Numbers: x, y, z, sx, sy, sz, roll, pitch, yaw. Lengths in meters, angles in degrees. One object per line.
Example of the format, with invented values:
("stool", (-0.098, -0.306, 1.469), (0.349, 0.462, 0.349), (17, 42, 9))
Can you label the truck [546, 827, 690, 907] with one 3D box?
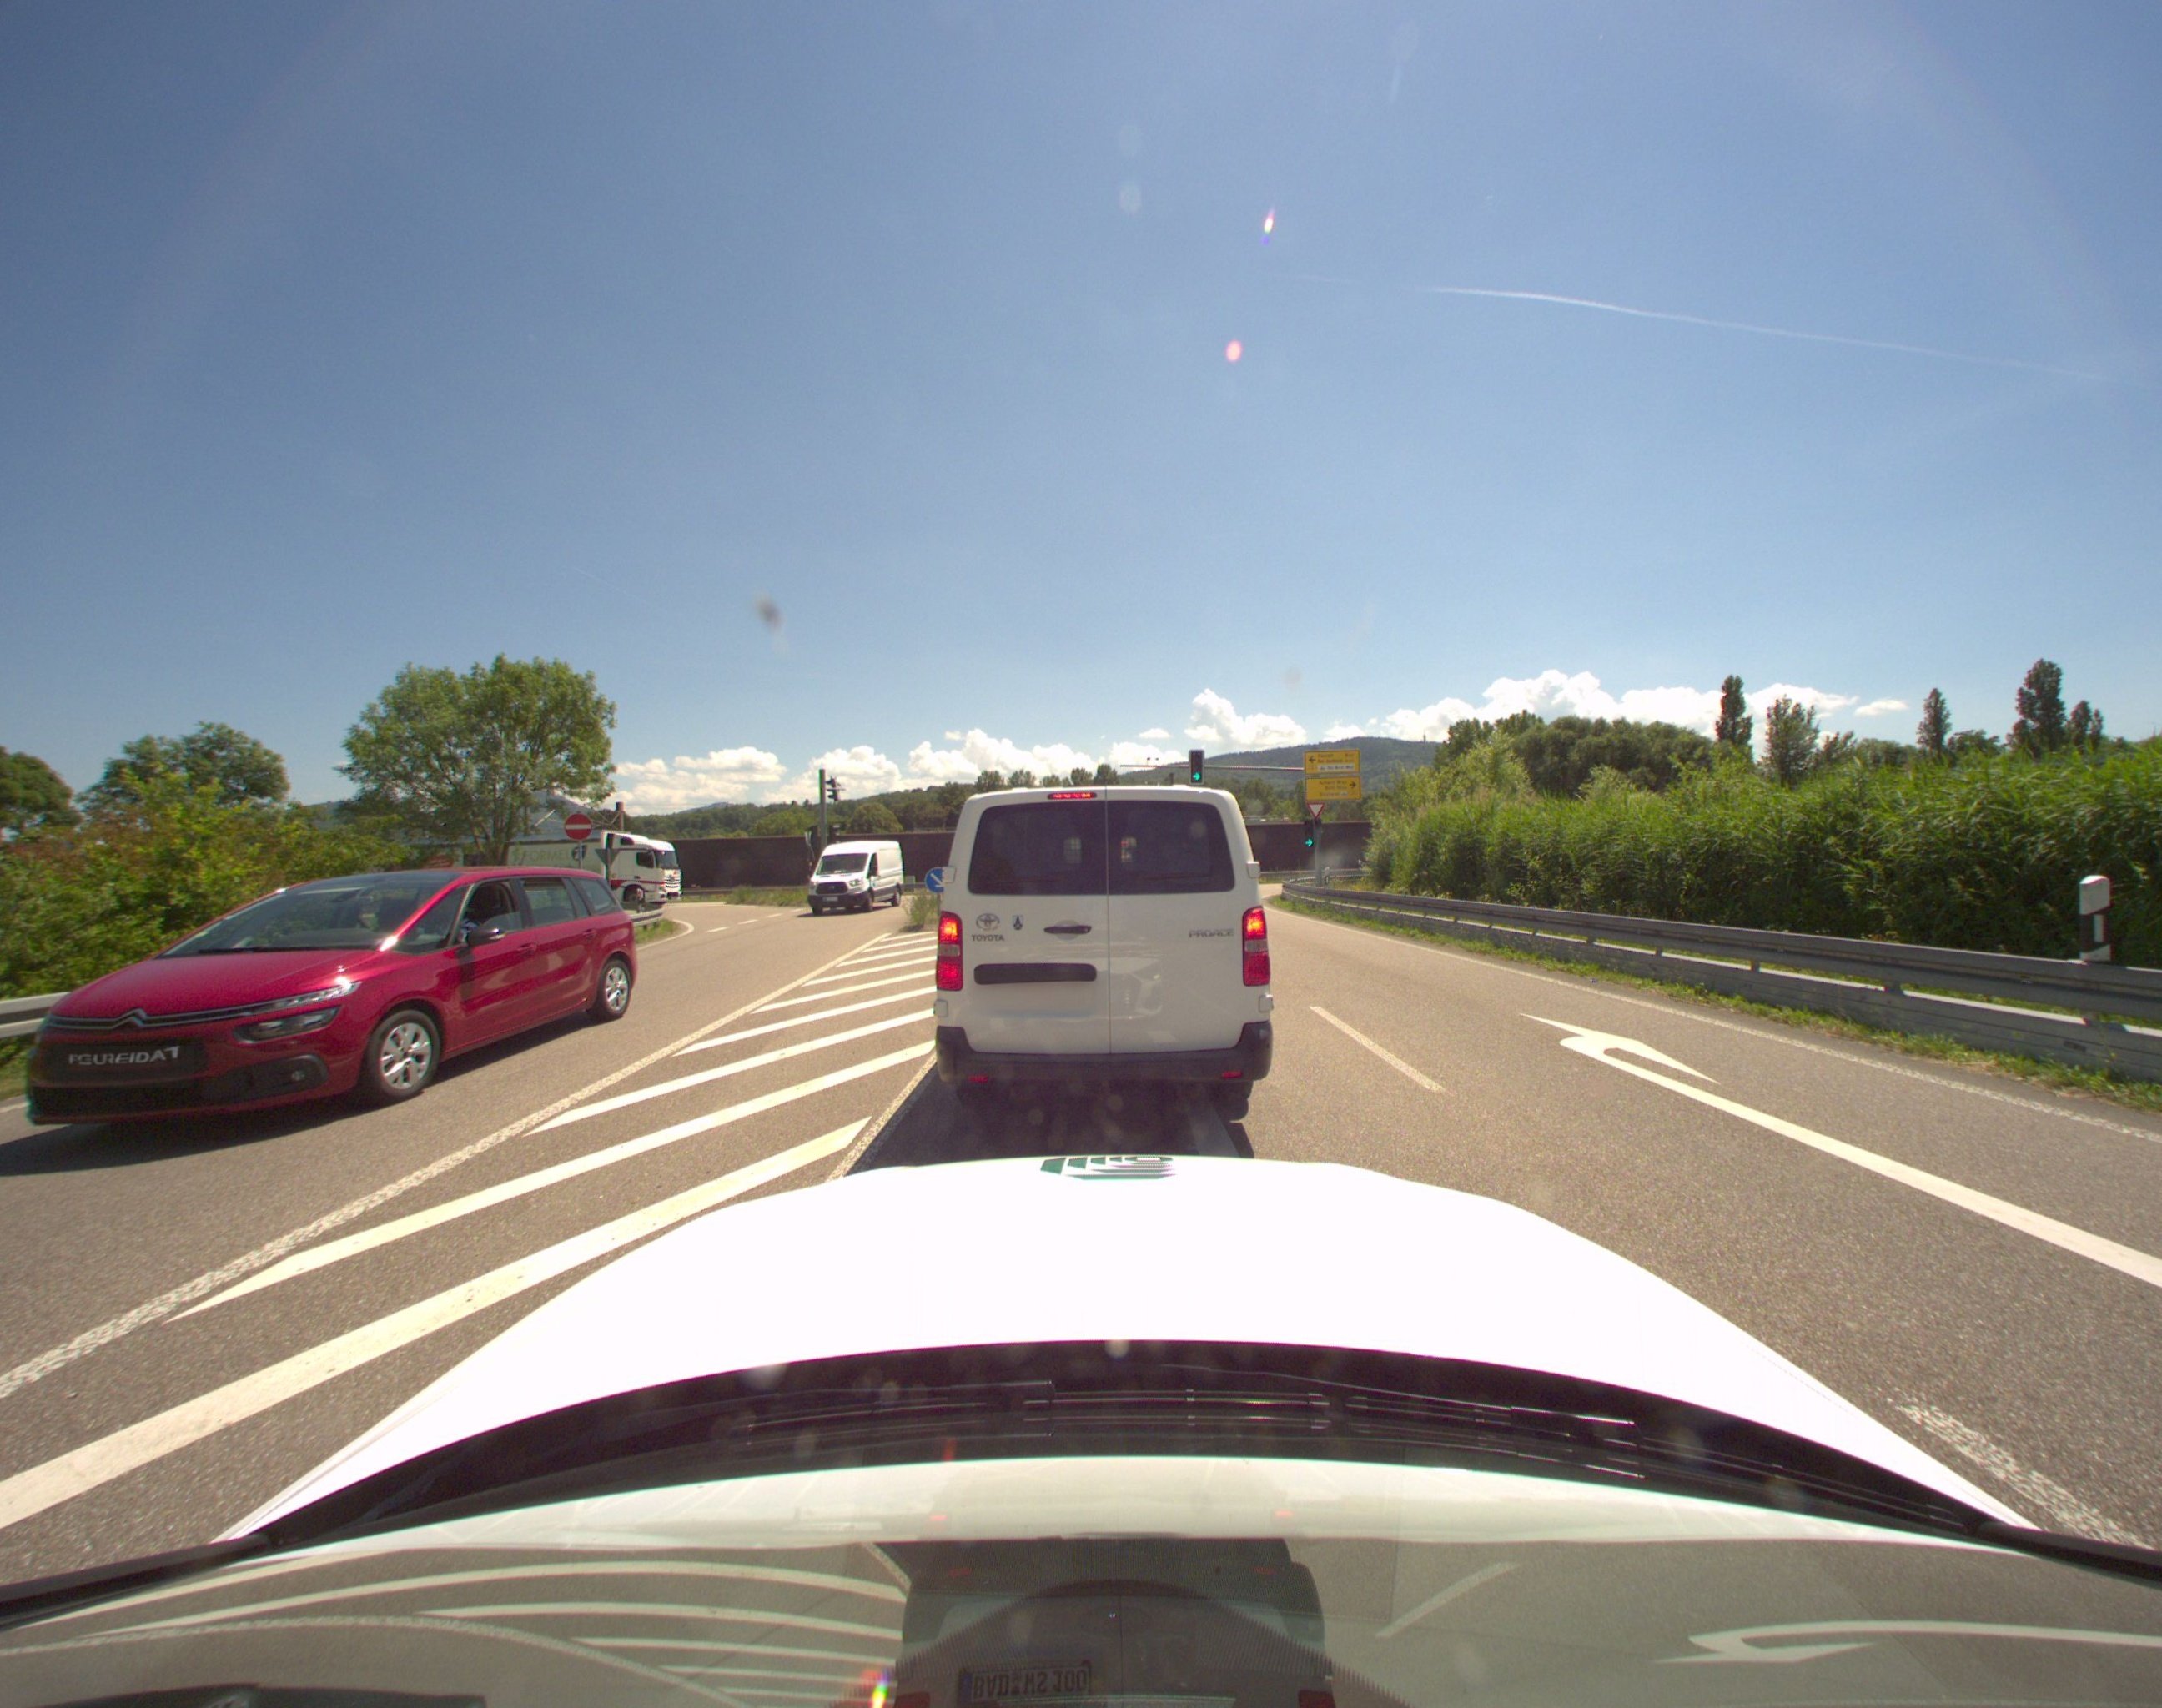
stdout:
("truck", (-24.236, 0.658, 42.873), (5.746, 3.954, 3.062), (-1, -1, 0))

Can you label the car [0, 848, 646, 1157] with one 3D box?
("car", (-5.555, 0.872, 6.798), (1.733, 1.685, 4.203), (-3, -1, -4))

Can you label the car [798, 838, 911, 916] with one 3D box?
("car", (-7.947, 0.742, 29.224), (1.984, 2.416, 5.596), (-3, 0, 4))

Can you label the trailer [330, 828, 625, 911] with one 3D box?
("trailer", (-31.444, 0.798, 42.818), (13.098, 3.954, 3.061), (-1, -1, 0))

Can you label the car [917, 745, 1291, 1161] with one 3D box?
("car", (0.171, 0.503, 6.019), (1.808, 2.017, 4.001), (-1, -1, 2))
